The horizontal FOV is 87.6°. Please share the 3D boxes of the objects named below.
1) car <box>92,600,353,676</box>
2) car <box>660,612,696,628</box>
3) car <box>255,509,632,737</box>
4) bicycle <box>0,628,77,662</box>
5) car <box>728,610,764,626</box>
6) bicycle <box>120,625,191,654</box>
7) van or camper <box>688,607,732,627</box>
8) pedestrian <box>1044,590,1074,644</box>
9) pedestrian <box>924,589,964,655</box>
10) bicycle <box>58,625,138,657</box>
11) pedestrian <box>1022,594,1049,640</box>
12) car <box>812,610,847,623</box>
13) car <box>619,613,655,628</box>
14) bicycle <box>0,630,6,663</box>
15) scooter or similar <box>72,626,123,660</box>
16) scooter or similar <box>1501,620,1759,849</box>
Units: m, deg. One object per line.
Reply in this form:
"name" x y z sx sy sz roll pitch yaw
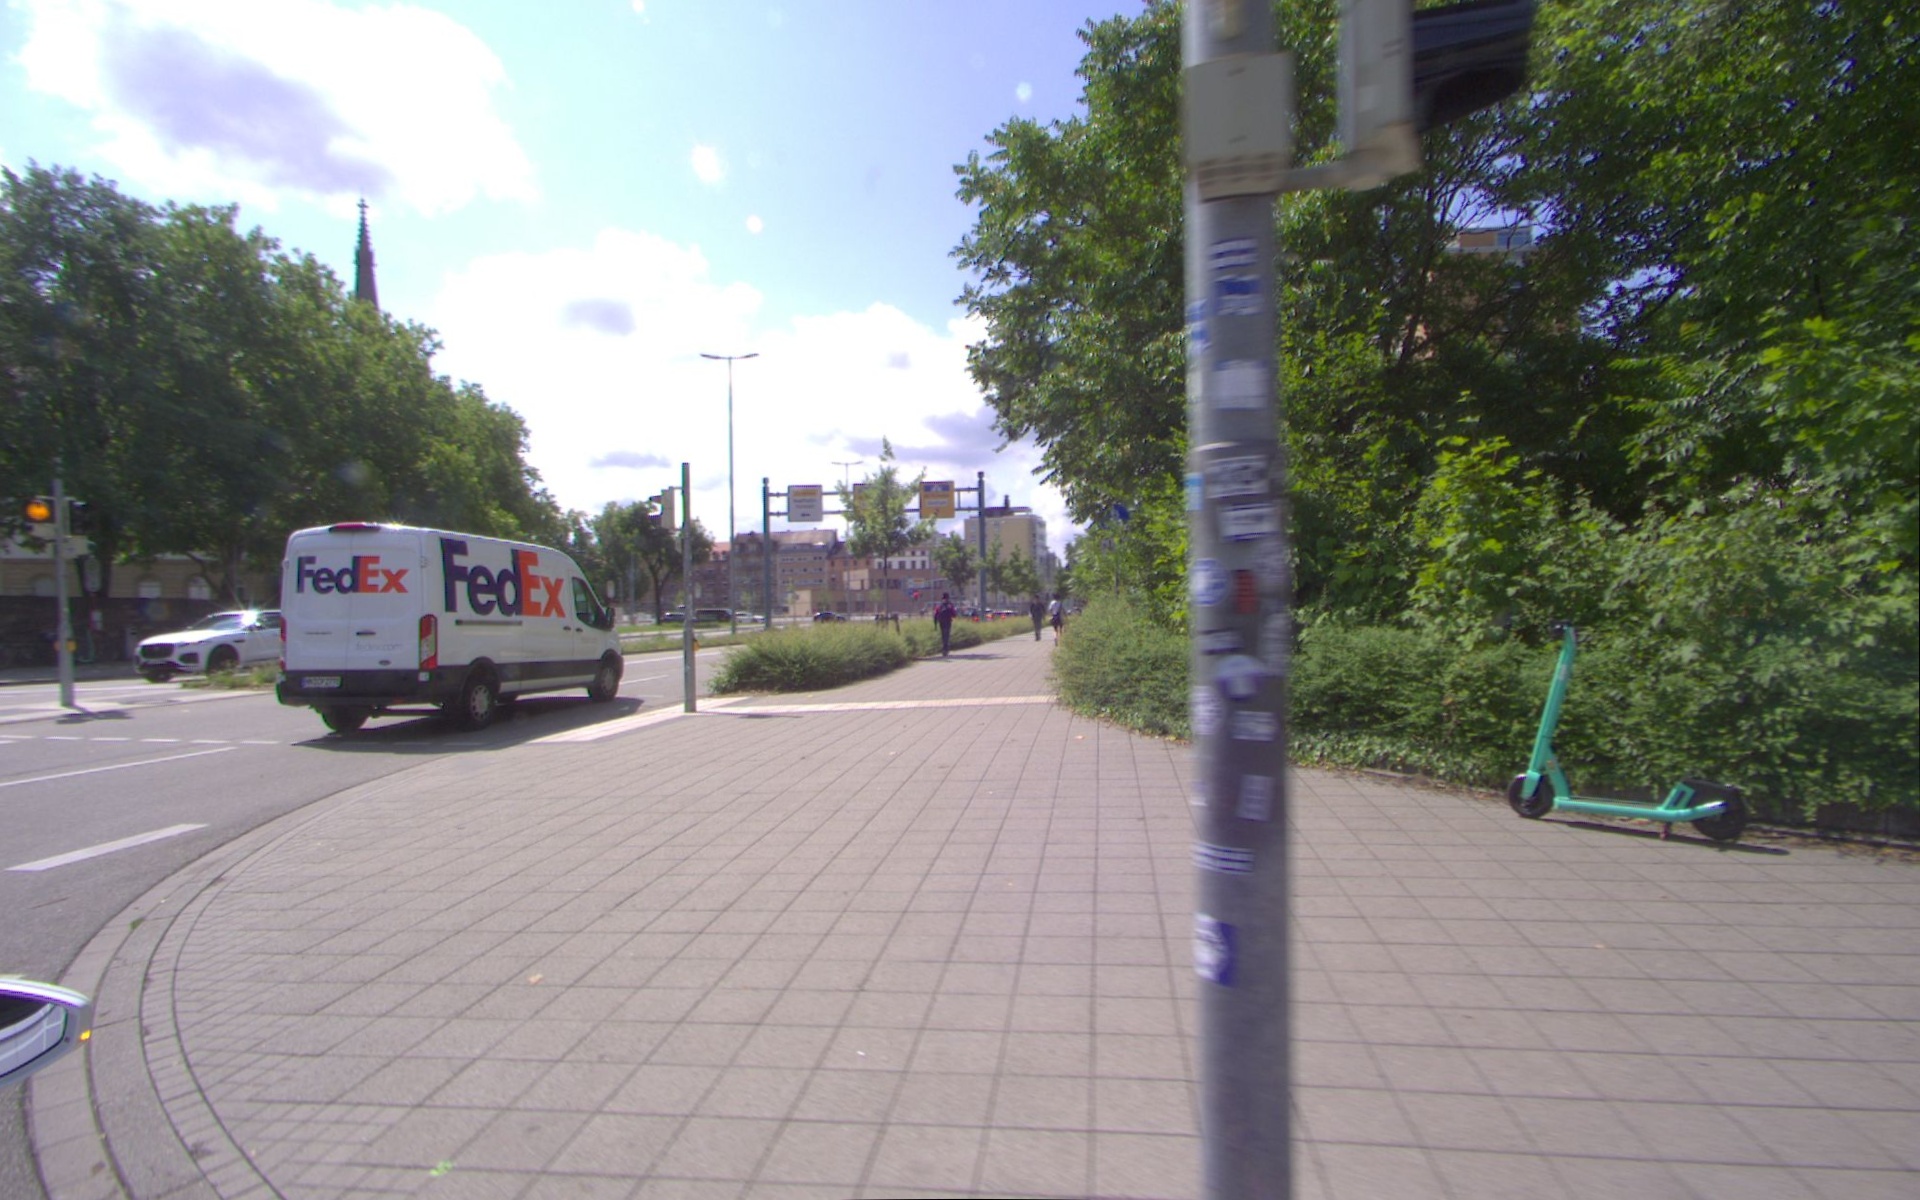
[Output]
"car" -18.010 0.864 24.881 1.962 1.663 5.303 -1 0 10
"car" -33.282 2.370 118.154 3.799 1.778 1.572 -1 -1 -3
"car" -6.885 0.256 14.338 2.061 2.601 5.600 0 0 6
"bicycle" -29.764 1.422 32.172 0.739 1.007 2.388 -1 0 -2
"car" -24.721 2.129 115.764 3.799 1.778 1.572 -1 -1 -3
"bicycle" -29.839 1.448 37.182 0.739 1.007 2.388 -1 0 -1
"van or camper" -27.977 1.925 112.222 4.571 2.122 1.572 -1 -1 -3
"pedestrian" 2.970 0.519 30.131 0.837 1.585 0.950 -1 0 4
"pedestrian" -0.434 0.594 27.483 0.978 1.749 1.209 -1 0 4
"bicycle" -29.749 1.407 34.619 0.739 1.007 2.388 -1 0 -2
"pedestrian" 2.830 0.639 37.473 0.978 1.673 0.920 -1 0 4
"car" -14.934 1.898 114.808 3.648 1.343 1.735 -1 0 3
"car" -39.175 2.456 121.464 3.799 1.778 1.572 -1 -1 -3
"bicycle" -29.781 1.421 29.716 0.710 1.007 2.388 -1 0 -2
"scooter or similar" -28.759 1.428 33.416 0.530 1.098 1.930 -1 -1 -16
"scooter or similar" 3.706 0.695 5.601 1.166 1.162 0.284 -1 0 45
